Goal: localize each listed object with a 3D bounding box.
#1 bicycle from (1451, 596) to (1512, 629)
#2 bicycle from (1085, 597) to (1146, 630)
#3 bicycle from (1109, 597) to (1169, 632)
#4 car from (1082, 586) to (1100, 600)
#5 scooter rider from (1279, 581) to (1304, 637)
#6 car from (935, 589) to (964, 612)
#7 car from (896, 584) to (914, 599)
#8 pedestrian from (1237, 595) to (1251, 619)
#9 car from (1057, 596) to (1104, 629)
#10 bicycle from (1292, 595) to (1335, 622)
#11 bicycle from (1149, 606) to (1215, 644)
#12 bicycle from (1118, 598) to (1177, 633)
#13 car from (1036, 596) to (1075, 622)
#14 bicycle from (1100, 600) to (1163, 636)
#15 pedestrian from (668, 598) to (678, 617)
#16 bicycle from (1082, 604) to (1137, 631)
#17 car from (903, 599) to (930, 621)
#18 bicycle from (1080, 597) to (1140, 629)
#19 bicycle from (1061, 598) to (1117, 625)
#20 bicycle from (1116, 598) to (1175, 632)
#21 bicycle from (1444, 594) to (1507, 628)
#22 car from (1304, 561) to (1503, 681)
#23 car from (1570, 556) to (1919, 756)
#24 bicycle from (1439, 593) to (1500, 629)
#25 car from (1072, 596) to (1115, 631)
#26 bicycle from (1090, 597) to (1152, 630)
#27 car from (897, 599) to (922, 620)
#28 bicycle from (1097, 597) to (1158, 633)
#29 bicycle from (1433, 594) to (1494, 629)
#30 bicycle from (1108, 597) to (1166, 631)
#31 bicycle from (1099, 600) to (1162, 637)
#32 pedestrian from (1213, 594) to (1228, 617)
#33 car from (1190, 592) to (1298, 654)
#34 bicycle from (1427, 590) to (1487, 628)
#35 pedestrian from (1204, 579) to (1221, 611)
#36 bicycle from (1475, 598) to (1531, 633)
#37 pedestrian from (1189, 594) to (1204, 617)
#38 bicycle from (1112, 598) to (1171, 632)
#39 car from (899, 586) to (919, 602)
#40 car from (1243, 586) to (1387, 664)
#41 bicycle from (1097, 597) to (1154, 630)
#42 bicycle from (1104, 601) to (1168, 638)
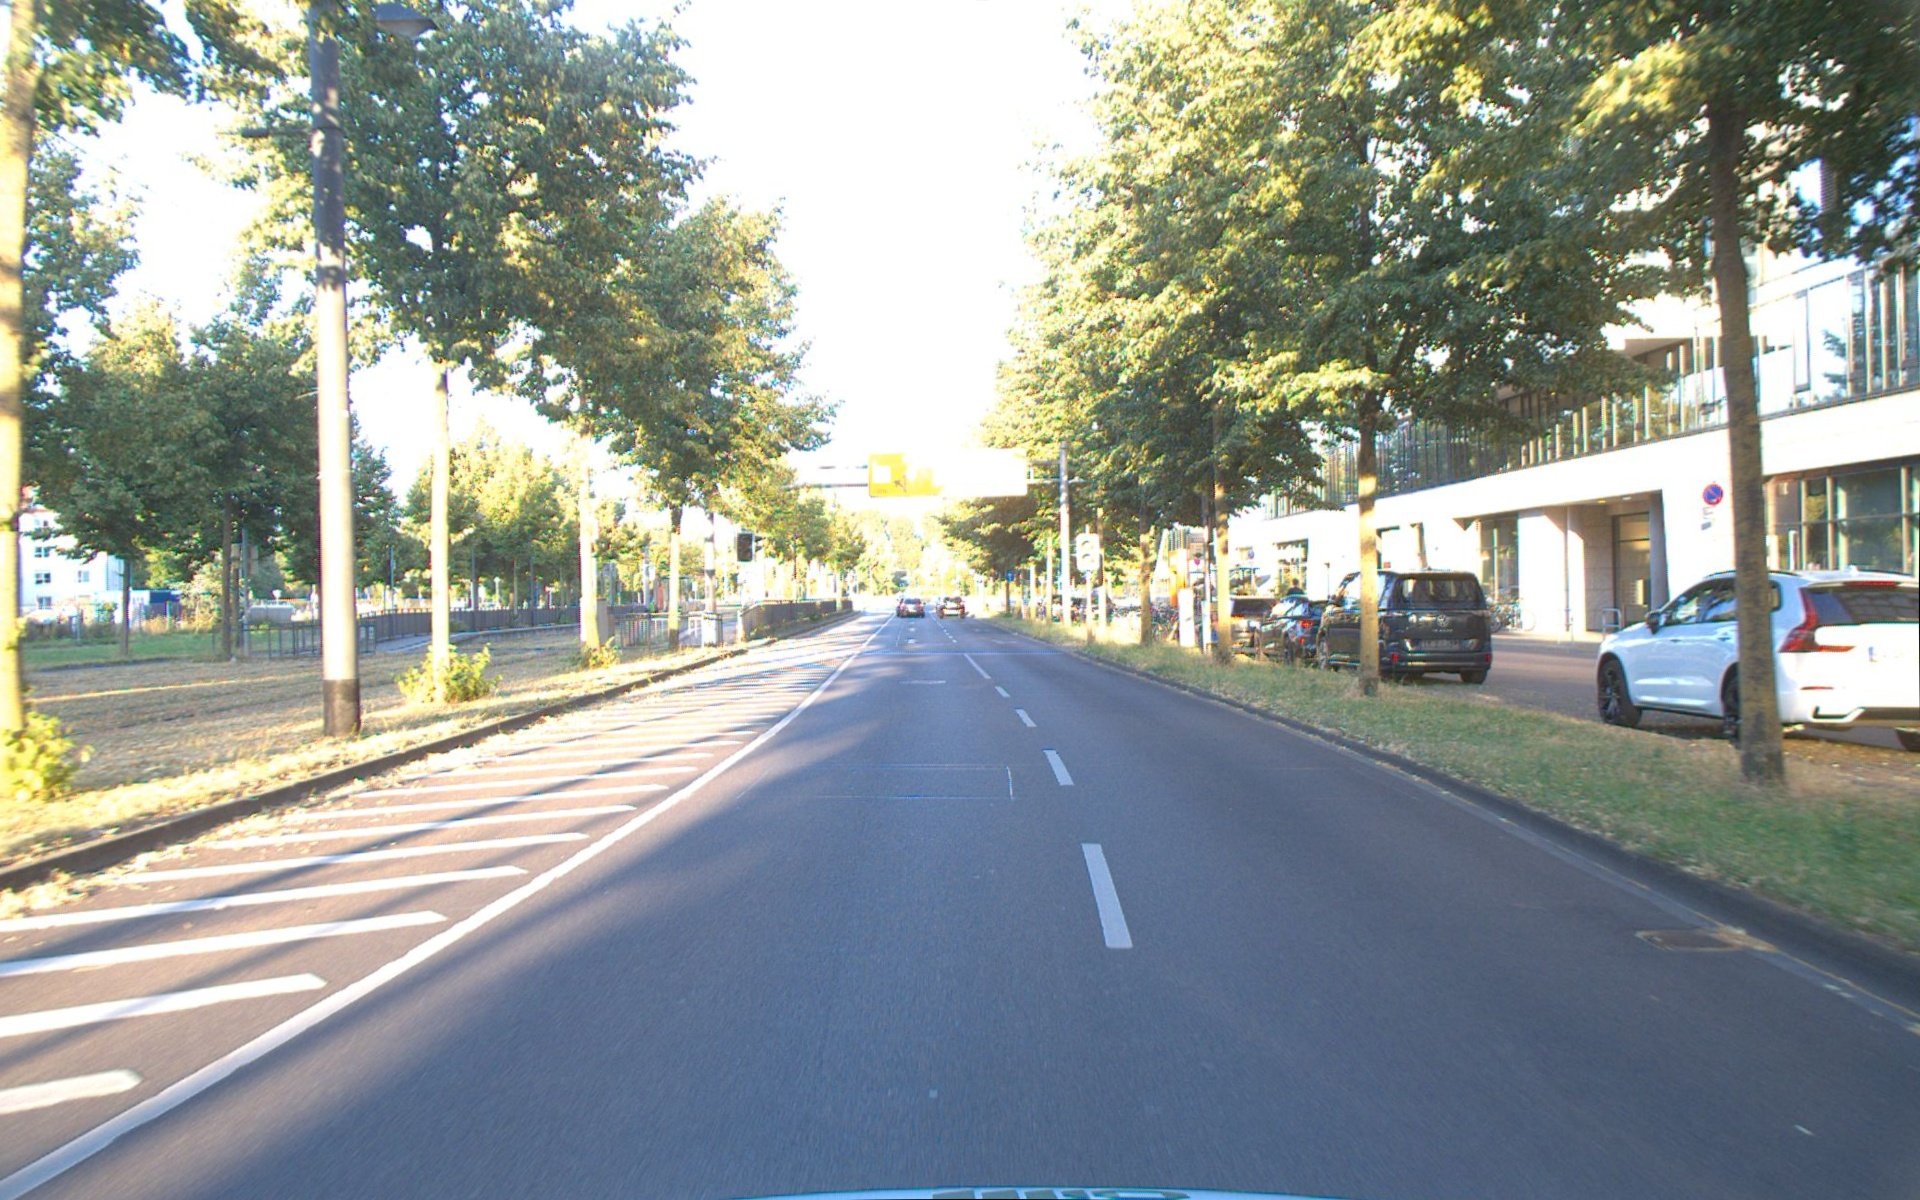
[{"bbox_3d":[15.908,0.391,50.473,1.708,0.969,0.404,-1,0,-1],"label":"bicycle"},{"bbox_3d":[5.609,0.482,59.686,2.102,1.072,0.561,2,0,-9],"label":"bicycle"},{"bbox_3d":[5.922,0.494,54.710,1.906,1.072,0.408,2,0,-10],"label":"bicycle"},{"bbox_3d":[16.716,-0.915,211.033,1.951,1.758,4.003,-1,0,7],"label":"car"},{"bbox_3d":[10.124,0.276,50.488,0.515,1.667,0.831,-1,0,-4],"label":"scooter rider"},{"bbox_3d":[-0.728,0.031,114.457,1.873,1.512,3.998,-1,0,-2],"label":"car"},{"bbox_3d":[-5.916,-0.877,176.755,1.873,1.512,3.998,-1,0,-2],"label":"car"},{"bbox_3d":[14.522,0.368,84.502,0.560,1.216,0.806,-1,0,0],"label":"pedestrian"},{"bbox_3d":[5.895,0.596,81.152,1.742,1.498,4.285,-1,0,-4],"label":"car"},{"bbox_3d":[15.416,0.374,72.047,1.750,1.123,0.508,-1,0,-7],"label":"bicycle"},{"bbox_3d":[6.783,0.755,50.514,1.903,1.072,0.545,2,0,-3],"label":"bicycle"},{"bbox_3d":[6.258,0.515,55.159,1.906,1.072,0.314,2,0,-10],"label":"bicycle"},{"bbox_3d":[5.552,0.513,96.307,1.722,1.491,4.155,-1,0,-4],"label":"car"},{"bbox_3d":[5.491,0.573,52.980,1.908,1.072,0.543,2,0,-13],"label":"bicycle"},{"bbox_3d":[-20.114,0.542,115.809,0.602,1.342,0.744,-1,0,-5],"label":"pedestrian"},{"bbox_3d":[5.924,0.686,65.627,2.102,0.956,0.442,2,0,-9],"label":"bicycle"},{"bbox_3d":[-3.136,0.715,118.373,1.873,1.512,3.998,-1,0,-2],"label":"car"},{"bbox_3d":[5.476,0.457,60.437,2.102,1.072,0.570,2,0,-9],"label":"bicycle"},{"bbox_3d":[5.046,0.459,64.495,2.102,0.956,0.442,2,0,-9],"label":"bicycle"},{"bbox_3d":[6.223,0.494,55.507,1.906,1.072,0.347,2,0,-10],"label":"bicycle"},{"bbox_3d":[15.875,0.347,50.965,1.793,1.004,0.404,-1,0,-1],"label":"bicycle"},{"bbox_3d":[7.611,0.337,28.902,1.954,1.884,4.662,-1,0,-4],"label":"car"},{"bbox_3d":[7.998,0.458,16.477,1.953,1.671,4.877,-1,0,-1],"label":"car"},{"bbox_3d":[16.040,0.352,52.075,1.793,1.075,0.404,-1,0,-1],"label":"bicycle"},{"bbox_3d":[5.983,0.573,74.313,1.543,1.498,3.880,-1,0,-1],"label":"car"},{"bbox_3d":[5.725,0.472,58.962,2.102,1.072,0.570,2,0,-9],"label":"bicycle"},{"bbox_3d":[-3.824,0.725,124.970,1.873,1.512,3.998,-1,0,-2],"label":"car"},{"bbox_3d":[5.479,0.493,54.188,1.906,1.072,0.408,2,0,-10],"label":"bicycle"},{"bbox_3d":[16.002,0.350,52.560,1.793,1.065,0.445,-1,0,-1],"label":"bicycle"},{"bbox_3d":[6.066,0.491,56.567,1.906,1.072,0.413,2,0,-10],"label":"bicycle"},{"bbox_3d":[5.381,0.580,52.201,1.911,1.072,0.542,2,0,-17],"label":"bicycle"},{"bbox_3d":[15.157,0.322,96.150,0.570,1.305,0.735,-1,0,-20],"label":"pedestrian"},{"bbox_3d":[7.032,0.538,41.397,1.831,1.436,4.645,-1,0,-1],"label":"car"},{"bbox_3d":[15.950,0.290,53.072,1.793,1.197,0.445,-1,0,-1],"label":"bicycle"},{"bbox_3d":[14.107,-0.268,92.400,0.696,1.767,0.682,-1,0,-32],"label":"pedestrian"},{"bbox_3d":[16.234,0.452,49.446,1.543,1.004,0.404,-1,0,-1],"label":"bicycle"},{"bbox_3d":[13.790,0.307,96.429,0.617,1.305,0.711,-1,0,-23],"label":"pedestrian"},{"bbox_3d":[6.142,0.501,56.037,1.906,1.072,0.413,2,0,-10],"label":"bicycle"},{"bbox_3d":[-4.965,-0.540,159.986,1.873,1.512,3.998,-1,0,-2],"label":"car"},{"bbox_3d":[7.427,0.487,35.042,1.774,1.497,4.662,-1,0,-4],"label":"car"},{"bbox_3d":[5.829,0.463,58.298,1.905,1.072,0.403,2,0,-9],"label":"bicycle"},{"bbox_3d":[5.496,0.605,51.633,1.911,1.072,0.542,2,0,-17],"label":"bicycle"}]
